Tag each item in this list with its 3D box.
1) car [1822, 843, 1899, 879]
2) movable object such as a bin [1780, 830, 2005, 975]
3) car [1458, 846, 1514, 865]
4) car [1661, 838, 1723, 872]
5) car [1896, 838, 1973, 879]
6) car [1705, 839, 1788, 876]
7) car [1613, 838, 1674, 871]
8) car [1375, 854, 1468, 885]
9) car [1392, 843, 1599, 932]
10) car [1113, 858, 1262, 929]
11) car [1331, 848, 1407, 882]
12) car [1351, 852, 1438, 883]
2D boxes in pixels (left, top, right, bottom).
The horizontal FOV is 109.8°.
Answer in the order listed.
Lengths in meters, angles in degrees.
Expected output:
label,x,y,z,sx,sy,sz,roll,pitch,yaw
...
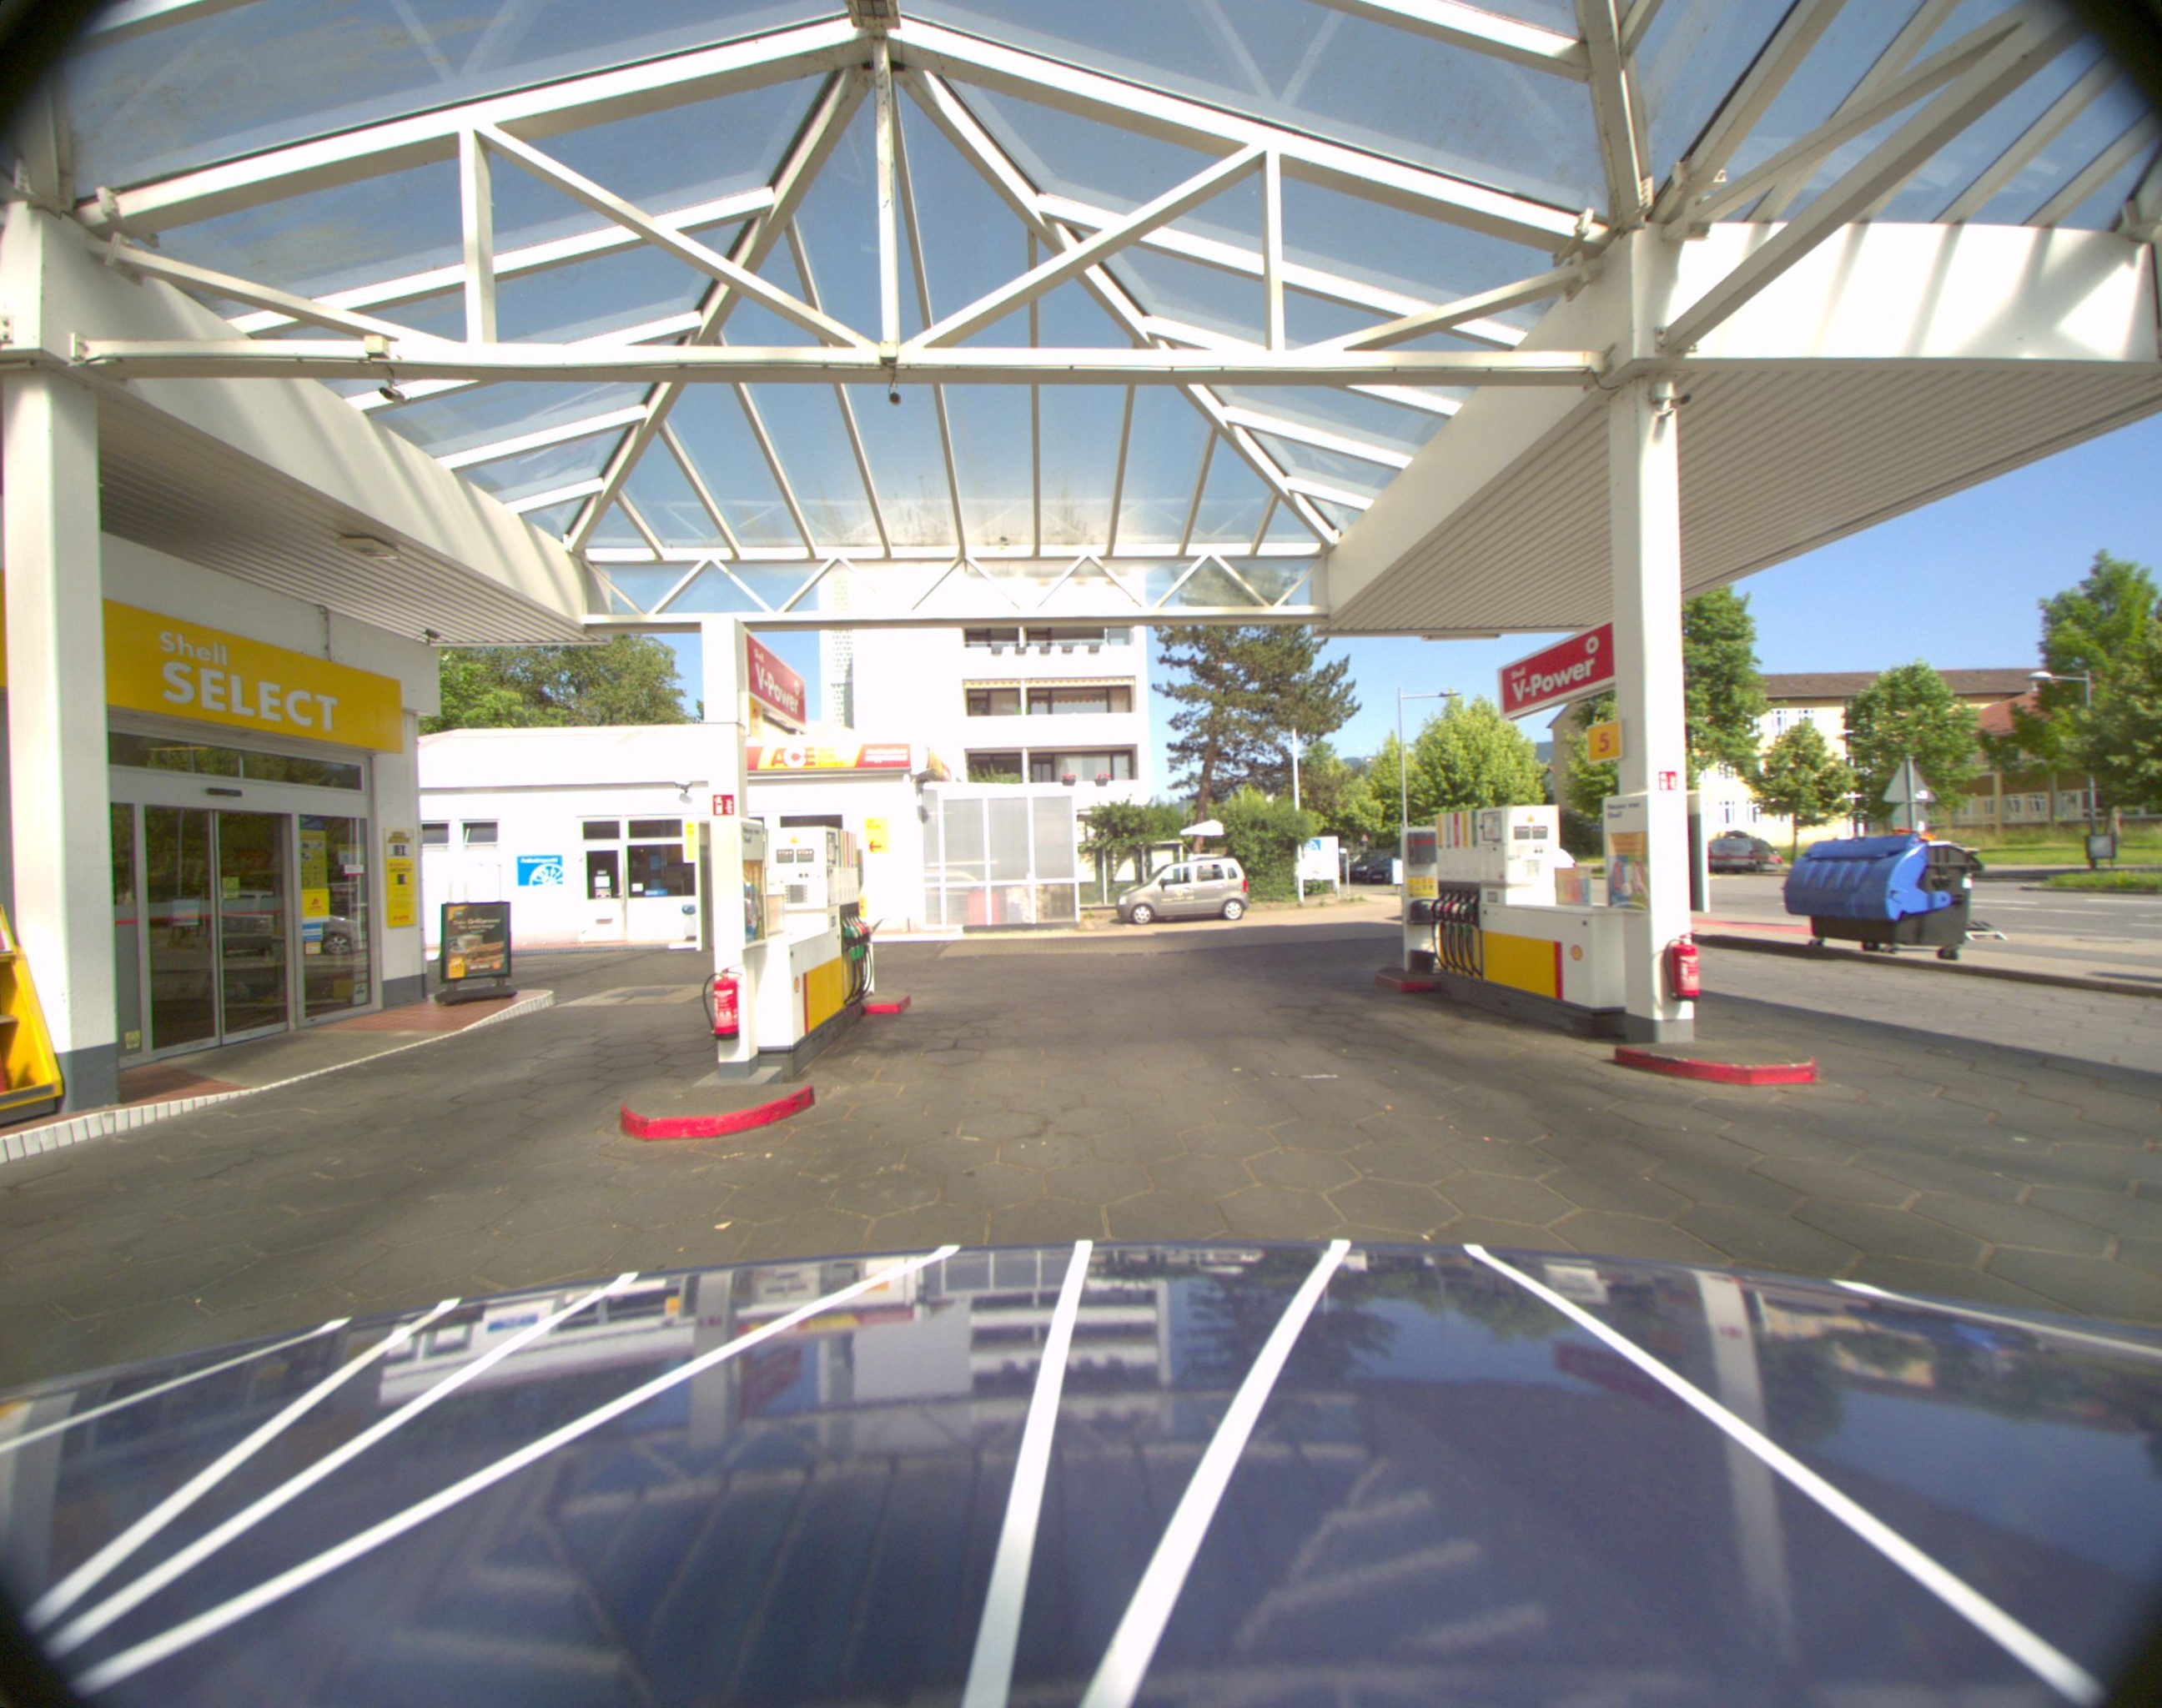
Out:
label,x,y,z,sx,sy,sz,roll,pitch,yaw
car,33.164,0.266,32.305,4.234,1.451,1.876,0,1,-39
movable object such as a bin,10.000,0.561,9.451,1.342,1.678,1.337,0,0,-2
car,31.454,0.100,59.064,3.730,1.383,1.878,0,1,-21
car,32.402,0.039,40.239,4.234,1.712,1.876,0,1,-42
car,33.097,0.168,29.435,4.234,1.451,1.737,0,0,-39
car,32.687,0.158,37.300,4.233,1.712,1.876,0,1,-32
car,31.157,0.028,42.051,4.234,1.712,1.876,0,1,-42
car,16.209,0.706,36.106,4.232,1.408,1.877,0,0,-29
car,9.346,0.685,17.113,4.313,1.696,1.958,-2,-1,-27
car,2.782,1.026,20.424,3.660,1.607,1.692,-3,0,-1
car,15.701,0.549,41.354,4.411,1.710,1.700,-1,0,-35
car,16.111,0.671,39.020,4.232,1.473,1.877,0,0,-29
